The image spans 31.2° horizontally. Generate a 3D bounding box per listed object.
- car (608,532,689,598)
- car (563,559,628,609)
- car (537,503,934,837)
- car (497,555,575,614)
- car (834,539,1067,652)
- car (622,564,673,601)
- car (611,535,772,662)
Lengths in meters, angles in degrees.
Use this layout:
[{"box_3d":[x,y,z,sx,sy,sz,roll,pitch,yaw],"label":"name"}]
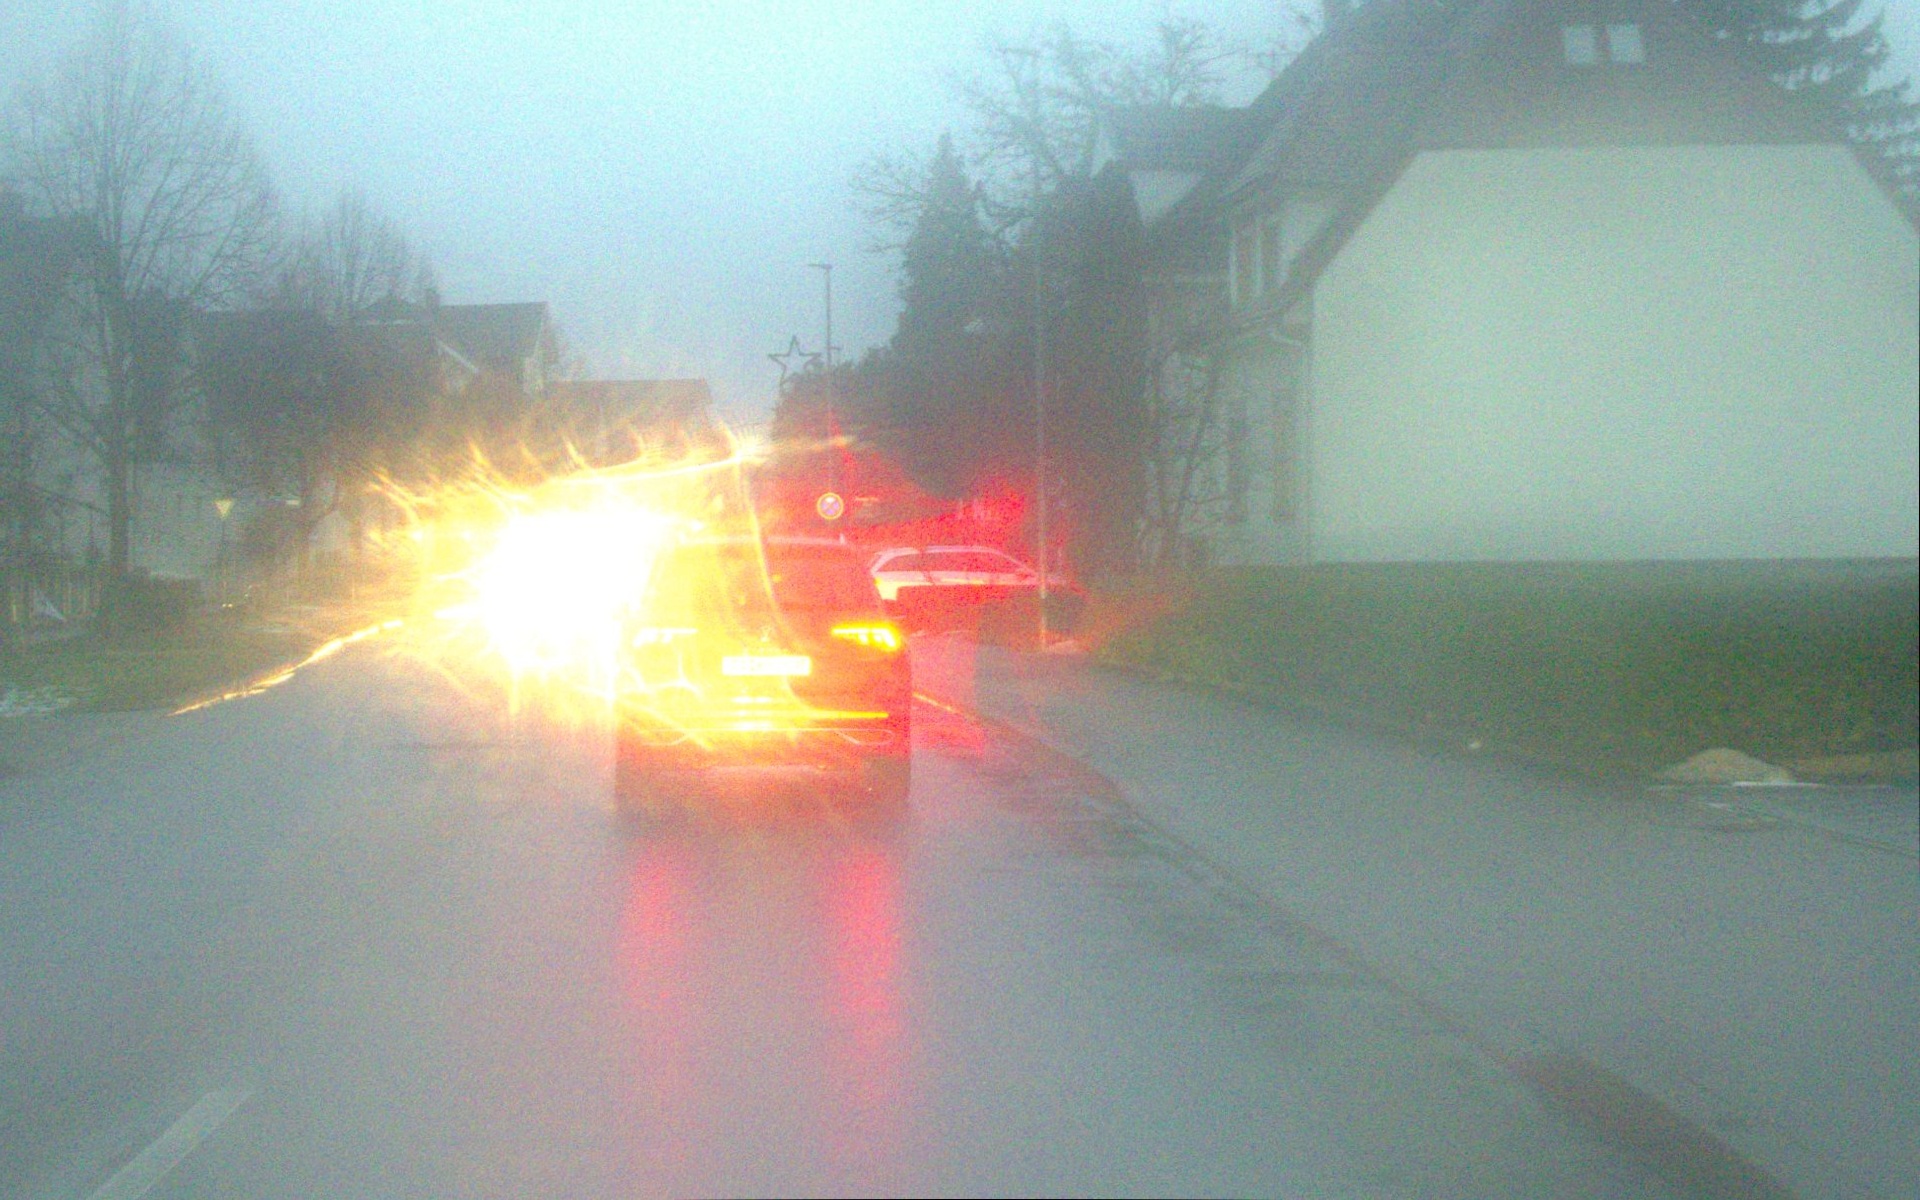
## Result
[{"box_3d":[-9.334,-1.023,102.756,2.309,1.932,5.019,0,0,-6],"label":"car"},{"box_3d":[-11.868,-0.543,112.088,1.913,1.426,4.001,0,3,-3],"label":"car"},{"box_3d":[-1.565,0.399,22.598,2.309,1.932,5.019,0,0,-6],"label":"car"},{"box_3d":[-12.053,-0.455,97.913,1.913,1.517,4.001,0,2,-3],"label":"car"},{"box_3d":[-0.191,-0.092,63.805,4.246,2.007,1.811,-1,1,-1],"label":"car"},{"box_3d":[-11.657,-0.665,128.287,1.842,1.327,3.938,-1,1,-5],"label":"car"},{"box_3d":[-3.746,-0.054,47.436,1.857,1.641,4.001,1,1,-9],"label":"car"}]
